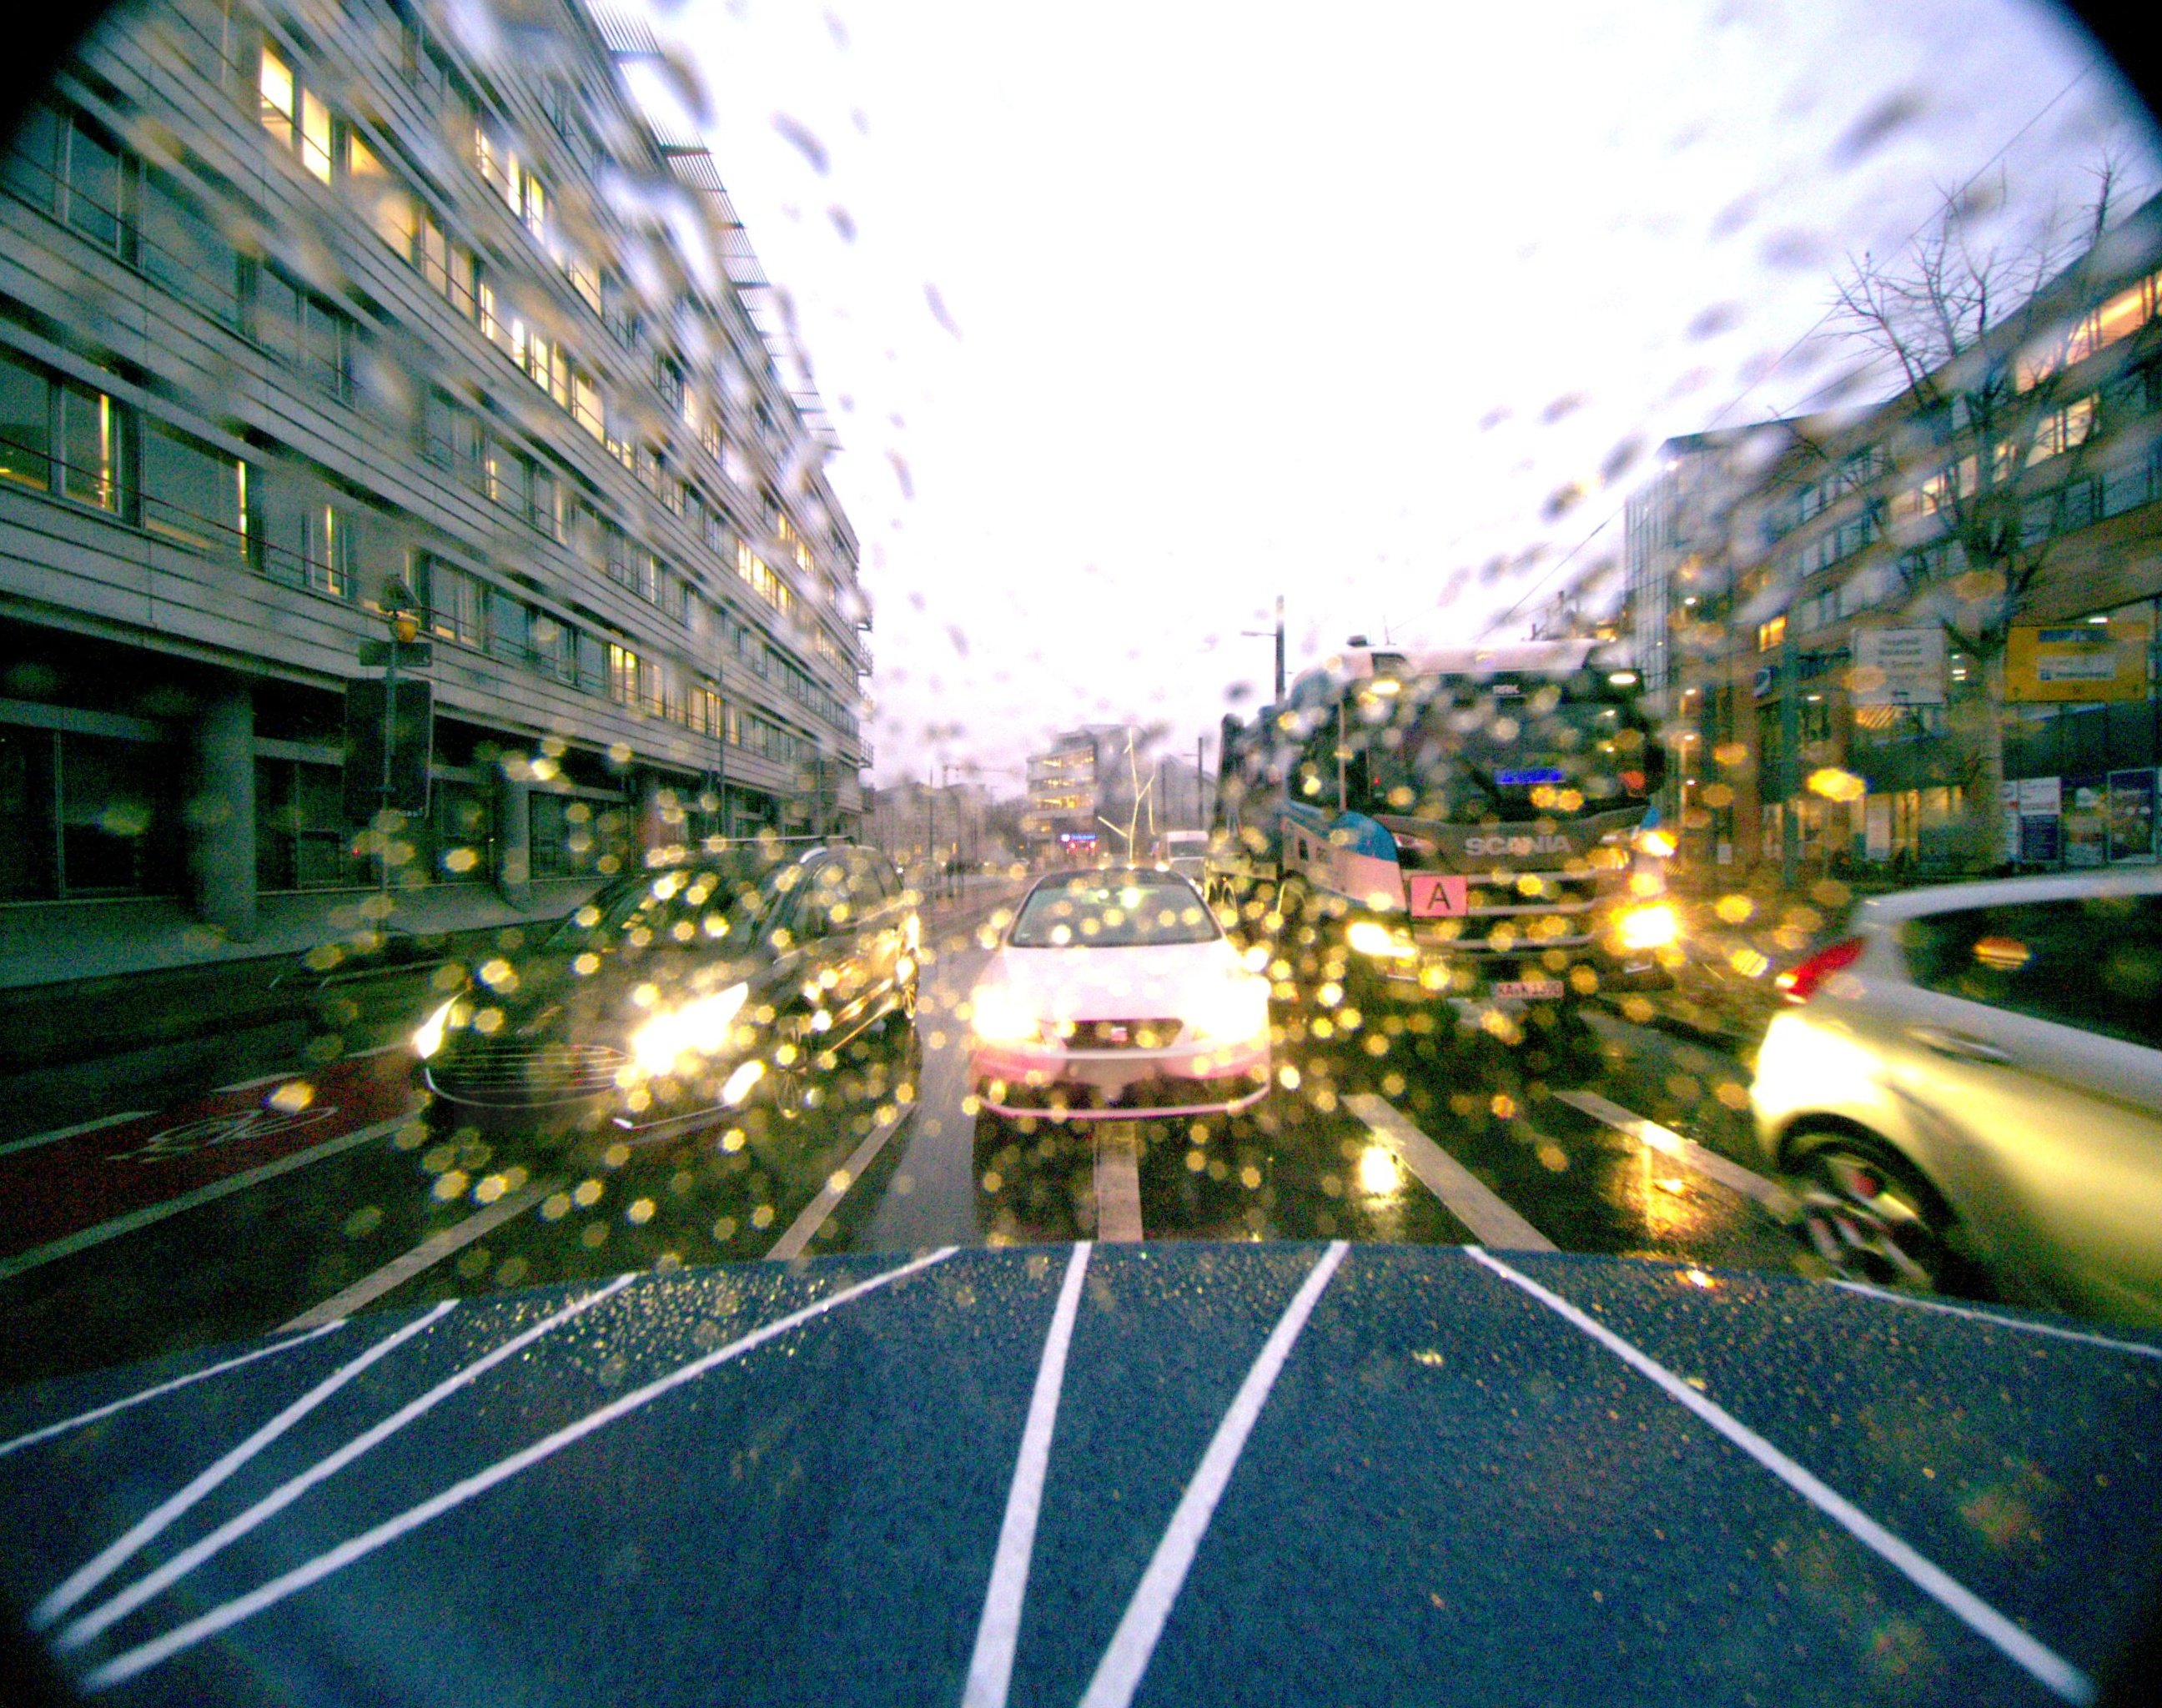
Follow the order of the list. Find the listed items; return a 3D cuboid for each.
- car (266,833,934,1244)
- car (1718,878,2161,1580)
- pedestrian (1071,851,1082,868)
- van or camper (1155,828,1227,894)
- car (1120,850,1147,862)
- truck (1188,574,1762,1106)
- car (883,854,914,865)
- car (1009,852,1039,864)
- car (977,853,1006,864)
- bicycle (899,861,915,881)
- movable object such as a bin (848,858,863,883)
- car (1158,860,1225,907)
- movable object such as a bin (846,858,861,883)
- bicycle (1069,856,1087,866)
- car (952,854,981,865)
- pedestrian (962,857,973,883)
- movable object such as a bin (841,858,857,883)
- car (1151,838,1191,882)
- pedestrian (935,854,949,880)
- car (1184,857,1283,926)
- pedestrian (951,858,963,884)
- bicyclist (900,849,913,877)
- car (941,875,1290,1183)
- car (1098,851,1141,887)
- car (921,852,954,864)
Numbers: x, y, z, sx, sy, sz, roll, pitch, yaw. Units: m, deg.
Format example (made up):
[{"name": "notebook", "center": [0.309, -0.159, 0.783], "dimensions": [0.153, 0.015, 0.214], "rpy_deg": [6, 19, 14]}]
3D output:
[{"name": "car", "center": [-2.618, 0.833, 5.745], "dimensions": [1.887, 1.800, 4.671], "rpy_deg": [-2, 0, 2]}, {"name": "car", "center": [3.211, 0.870, 0.817], "dimensions": [1.709, 1.439, 3.999], "rpy_deg": [-2, 1, 1]}, {"name": "pedestrian", "center": [-0.538, 0.598, 90.017], "dimensions": [1.118, 2.002, 1.034], "rpy_deg": [0, 1, 15]}, {"name": "van or camper", "center": [4.512, 0.251, 32.257], "dimensions": [2.153, 2.517, 5.898], "rpy_deg": [-1, 0, 0]}, {"name": "car", "center": [8.168, 0.354, 117.768], "dimensions": [3.723, 1.796, 1.797], "rpy_deg": [-1, 0, 29]}, {"name": "truck", "center": [3.235, -0.105, 8.966], "dimensions": [2.846, 3.612, 7.526], "rpy_deg": [-1, 0, 0]}, {"name": "car", "center": [-27.856, 0.877, 116.073], "dimensions": [3.996, 1.663, 2.002], "rpy_deg": [-1, 0, 17]}, {"name": "car", "center": [-8.150, 0.589, 109.493], "dimensions": [3.918, 1.699, 1.782], "rpy_deg": [-1, 1, 15]}, {"name": "car", "center": [-13.036, 0.614, 110.685], "dimensions": [3.759, 1.528, 1.782], "rpy_deg": [0, 0, 17]}, {"name": "bicycle", "center": [-11.083, 1.056, 48.339], "dimensions": [0.681, 1.191, 1.760], "rpy_deg": [-2, 1, -4]}, {"name": "movable object such as a bin", "center": [-13.426, 0.954, 45.212], "dimensions": [0.666, 1.468, 0.840], "rpy_deg": [-1, 1, -2]}, {"name": "car", "center": [3.491, 0.898, 24.579], "dimensions": [1.759, 1.337, 4.057], "rpy_deg": [-1, 0, 3]}, {"name": "movable object such as a bin", "center": [-13.261, 0.949, 44.282], "dimensions": [0.666, 1.420, 0.840], "rpy_deg": [-1, 1, -2]}, {"name": "bicycle", "center": [-0.423, 0.871, 94.619], "dimensions": [2.204, 1.182, 0.668], "rpy_deg": [0, 1, 2]}, {"name": "car", "center": [-16.940, 0.766, 112.226], "dimensions": [3.759, 1.528, 1.782], "rpy_deg": [0, 0, 17]}, {"name": "pedestrian", "center": [-7.419, 1.038, 49.797], "dimensions": [0.616, 1.659, 0.884], "rpy_deg": [1, 1, -3]}, {"name": "movable object such as a bin", "center": [-13.266, 0.935, 43.385], "dimensions": [0.666, 1.420, 0.840], "rpy_deg": [-1, 1, -2]}, {"name": "car", "center": [6.146, 0.398, 52.603], "dimensions": [2.129, 2.847, 5.813], "rpy_deg": [-1, 0, 1]}, {"name": "pedestrian", "center": [-9.198, 0.877, 50.335], "dimensions": [0.747, 1.692, 0.969], "rpy_deg": [2, 1, -3]}, {"name": "car", "center": [3.615, 0.832, 18.597], "dimensions": [1.634, 1.514, 3.942], "rpy_deg": [0, 0, 0]}, {"name": "pedestrian", "center": [-8.140, 1.103, 49.772], "dimensions": [0.651, 1.692, 0.884], "rpy_deg": [1, 1, -3]}, {"name": "bicyclist", "center": [-11.108, 0.588, 48.509], "dimensions": [0.671, 1.788, 0.806], "rpy_deg": [0, 1, -3]}, {"name": "car", "center": [0.207, 0.959, 5.894], "dimensions": [1.782, 1.464, 3.943], "rpy_deg": [-1, 0, 1]}, {"name": "car", "center": [2.088, 0.763, 42.185], "dimensions": [2.169, 1.744, 4.540], "rpy_deg": [0, 2, 0]}, {"name": "car", "center": [-21.420, 0.579, 113.711], "dimensions": [4.368, 1.750, 2.002], "rpy_deg": [-1, 1, 17]}]
